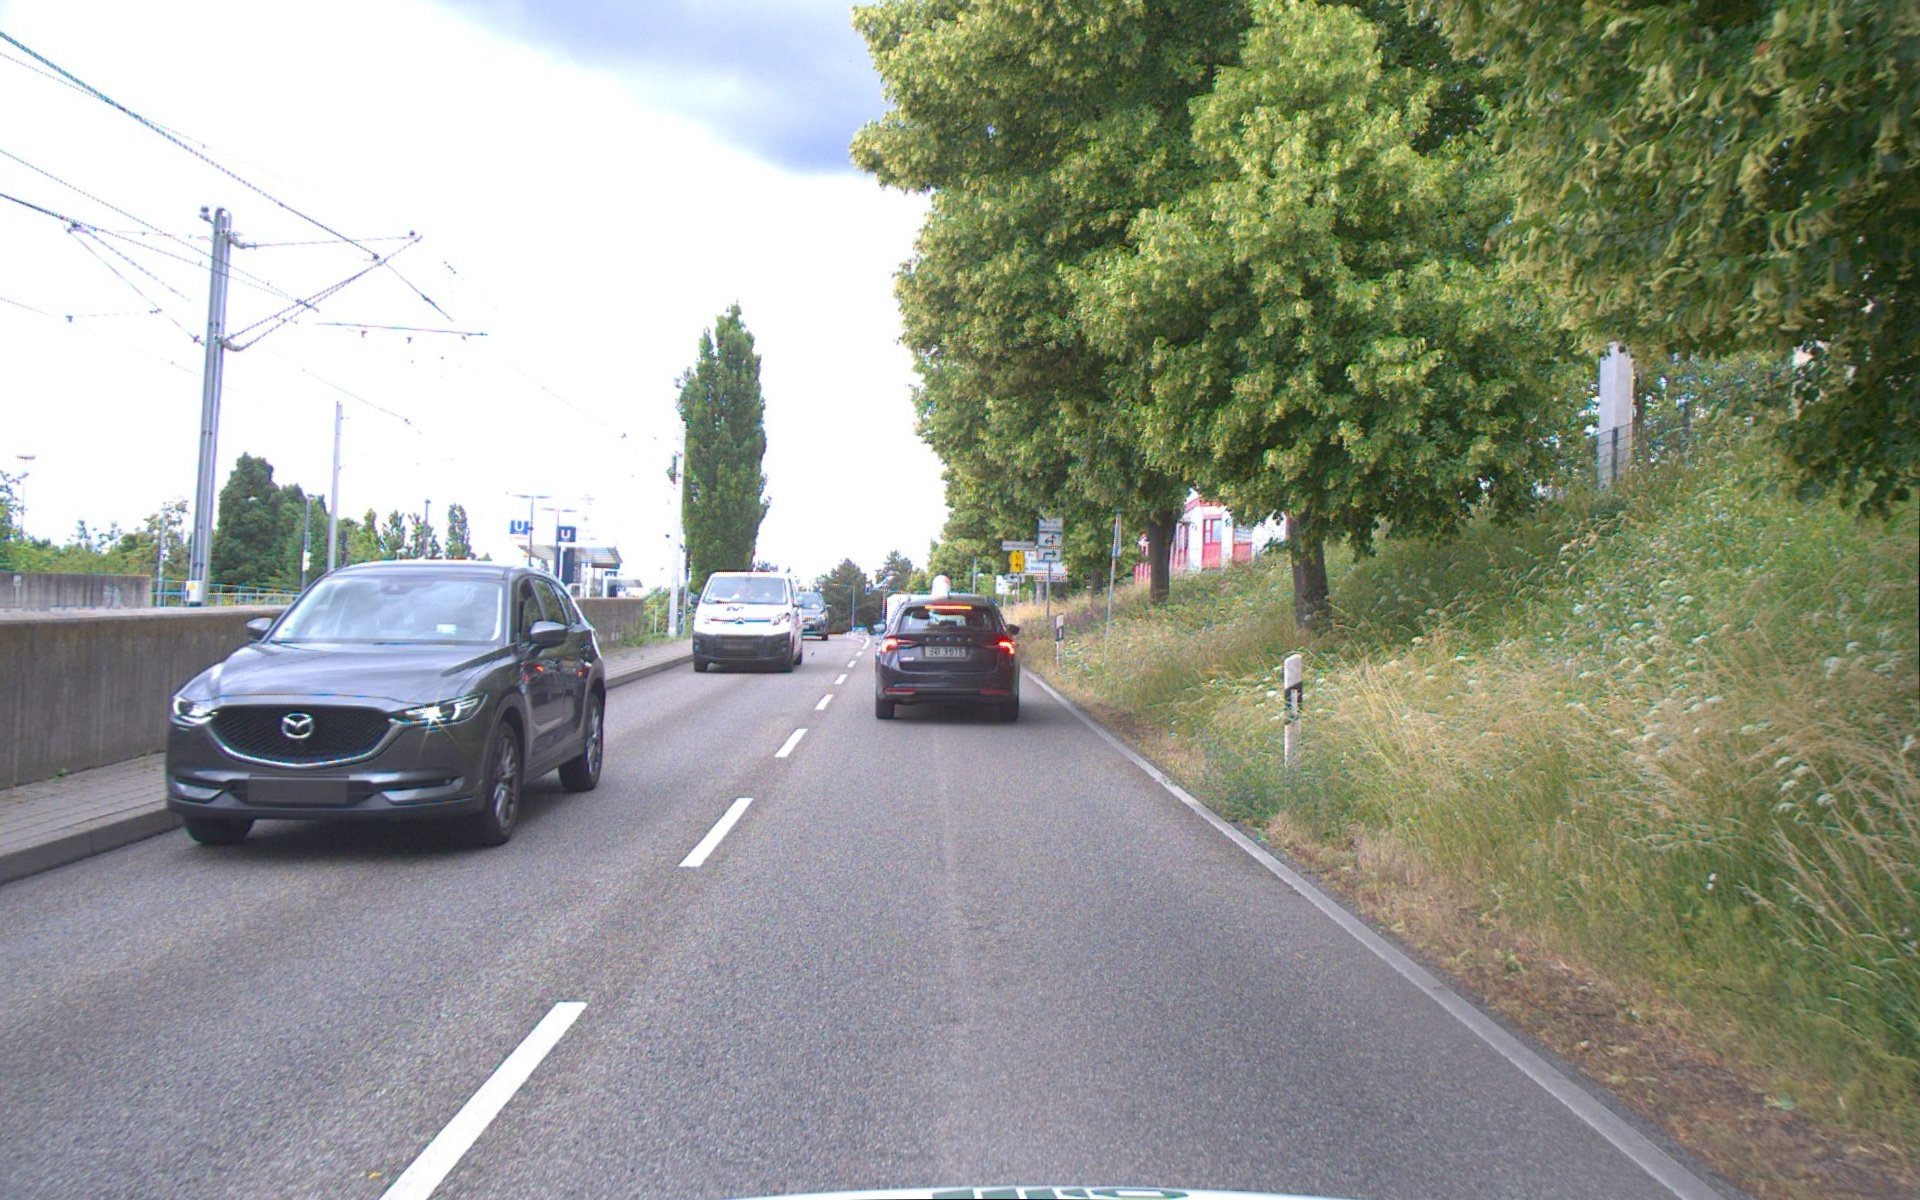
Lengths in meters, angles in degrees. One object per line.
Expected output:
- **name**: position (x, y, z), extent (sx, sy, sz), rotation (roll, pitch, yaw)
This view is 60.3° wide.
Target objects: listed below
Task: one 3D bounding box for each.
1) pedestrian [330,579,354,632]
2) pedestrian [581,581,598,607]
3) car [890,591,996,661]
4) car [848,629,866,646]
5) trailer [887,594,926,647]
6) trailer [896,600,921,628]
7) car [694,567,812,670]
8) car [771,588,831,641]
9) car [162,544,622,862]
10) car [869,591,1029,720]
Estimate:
- **pedestrian**: position (-19.536, 0.182, 52.321), extent (0.497, 1.653, 0.645), rotation (1, -1, -3)
- **pedestrian**: position (-18.135, -0.283, 80.965), extent (0.747, 1.220, 0.664), rotation (1, -1, -8)
- **car**: position (-0.444, 0.560, 37.697), extent (1.596, 1.483, 3.675), rotation (1, 0, -14)
- **car**: position (-9.045, 3.297, 145.450), extent (1.495, 1.378, 3.487), rotation (1, 0, -5)
- **trailer**: position (-4.328, 1.703, 133.280), extent (2.516, 3.771, 7.751), rotation (1, -5, -6)
- **trailer**: position (-3.135, 0.879, 101.015), extent (1.381, 1.622, 3.300), rotation (1, -2, -4)
- **car**: position (-3.973, 0.341, 32.454), extent (1.858, 1.865, 4.903), rotation (0, 0, -2)
- **car**: position (-5.370, 0.459, 56.170), extent (1.786, 1.686, 4.243), rotation (1, 0, -3)
- **car**: position (-3.487, 0.534, 10.983), extent (1.741, 1.716, 4.064), rotation (0, 1, -2)
- **car**: position (-0.037, 0.613, 20.811), extent (1.797, 1.457, 4.280), rotation (0, 0, 2)
